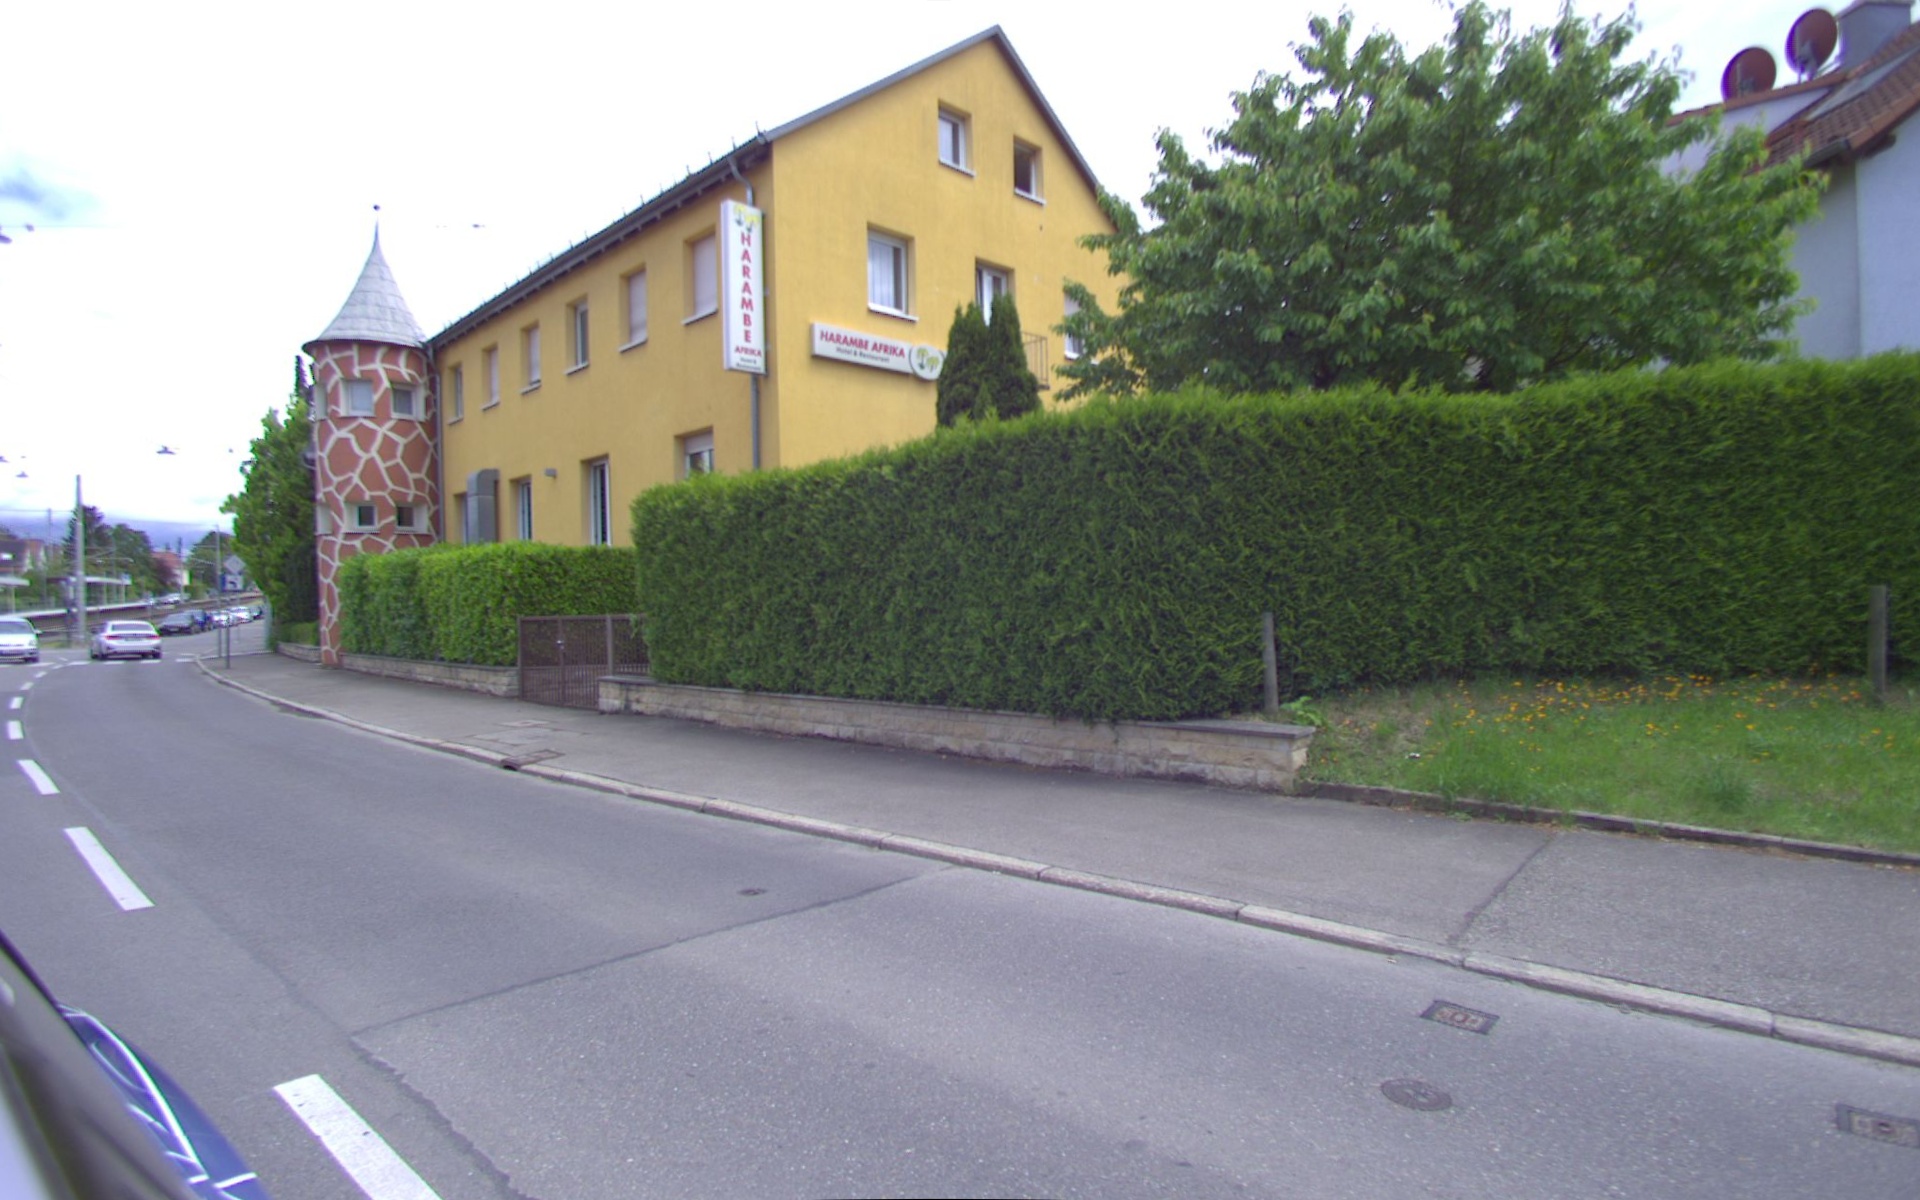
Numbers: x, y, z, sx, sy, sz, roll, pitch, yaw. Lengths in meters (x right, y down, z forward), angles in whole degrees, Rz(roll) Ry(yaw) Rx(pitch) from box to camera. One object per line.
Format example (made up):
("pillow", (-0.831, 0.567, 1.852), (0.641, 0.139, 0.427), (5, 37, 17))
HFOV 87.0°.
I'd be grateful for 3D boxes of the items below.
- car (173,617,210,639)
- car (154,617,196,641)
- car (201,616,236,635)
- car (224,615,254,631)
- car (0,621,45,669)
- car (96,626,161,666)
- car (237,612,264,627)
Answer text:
("car", (-57.272, 2.060, 75.471), (1.792, 1.513, 4.131), (-2, 0, -32))
("car", (-53.973, 1.975, 69.654), (1.792, 1.513, 4.131), (-2, 0, -32))
("car", (-61.730, 2.100, 84.262), (1.823, 1.386, 4.012), (-2, 0, -29))
("car", (-67.352, 2.112, 94.568), (1.823, 1.386, 4.012), (-2, 0, -29))
("car", (-33.635, 1.591, 35.702), (3.928, 1.580, 1.703), (-2, 0, 43))
("car", (-31.729, 1.721, 38.702), (1.795, 1.430, 4.472), (2, -2, -38))
("car", (-73.279, 2.018, 104.542), (1.823, 1.386, 4.012), (-2, 0, -29))
